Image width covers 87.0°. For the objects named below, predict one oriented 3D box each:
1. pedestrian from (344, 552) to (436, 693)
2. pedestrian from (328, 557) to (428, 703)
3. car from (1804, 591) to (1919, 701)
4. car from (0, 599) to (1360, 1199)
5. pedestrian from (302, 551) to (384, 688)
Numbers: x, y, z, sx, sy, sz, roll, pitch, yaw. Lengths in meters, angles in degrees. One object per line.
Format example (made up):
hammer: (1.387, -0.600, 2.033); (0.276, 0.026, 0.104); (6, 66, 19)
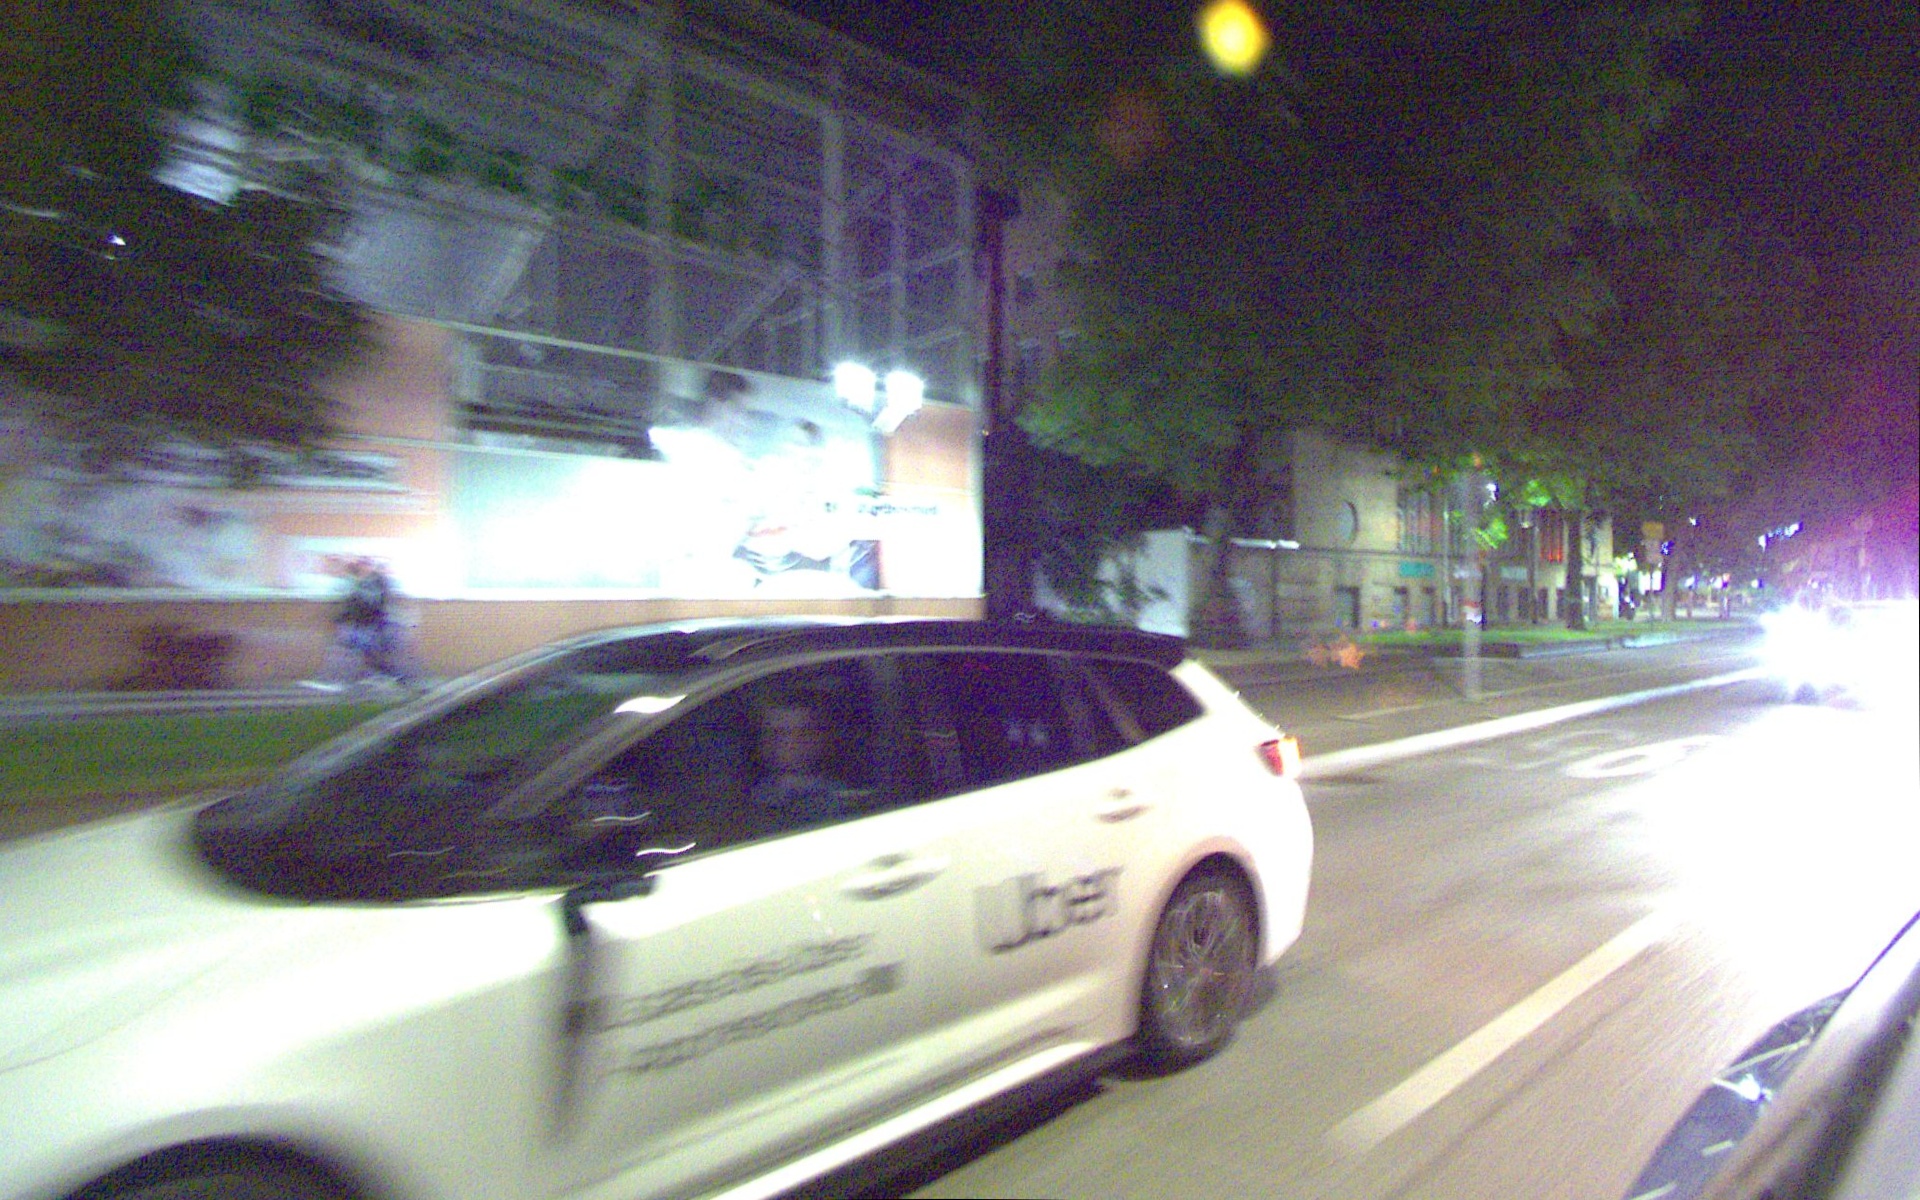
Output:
pedestrian: (-7.626, 0.278, 13.544); (0.953, 1.811, 0.720); (0, 1, -40)
pedestrian: (-7.280, 0.347, 12.660); (0.968, 1.738, 0.736); (0, 1, -40)
car: (14.007, 0.601, 15.106); (3.774, 1.456, 1.633); (0, 1, -42)
car: (-0.734, 0.741, 3.011); (4.419, 1.448, 1.727); (0, 0, -41)
pedestrian: (-8.637, 0.254, 14.169); (0.890, 1.839, 0.675); (0, 1, -40)
